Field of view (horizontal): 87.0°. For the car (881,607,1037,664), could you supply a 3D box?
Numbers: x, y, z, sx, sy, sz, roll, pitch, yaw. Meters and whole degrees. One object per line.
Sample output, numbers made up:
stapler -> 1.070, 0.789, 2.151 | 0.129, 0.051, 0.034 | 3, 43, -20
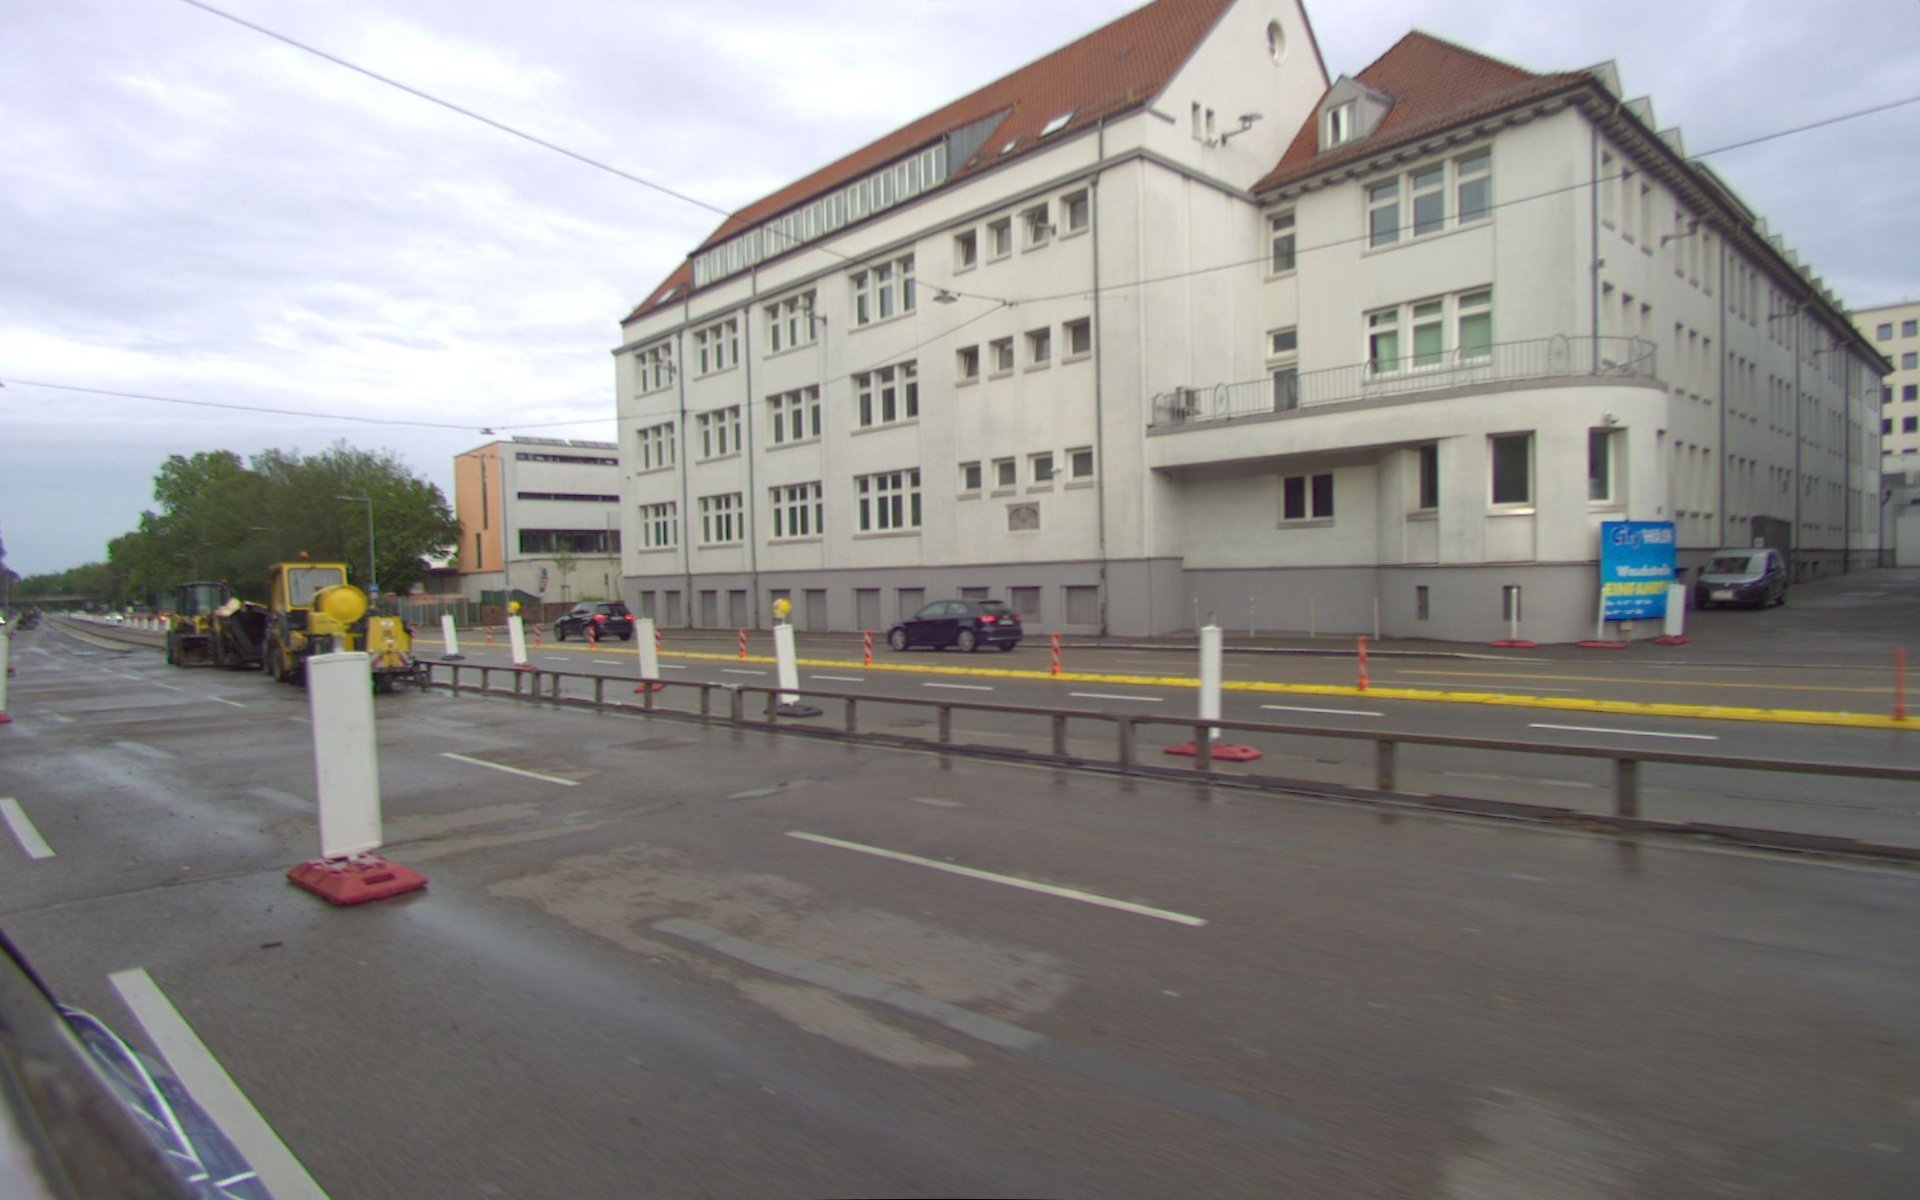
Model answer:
car -> -0.075, 0.933, 27.200 | 3.998, 1.392, 1.838 | -2, -1, 41

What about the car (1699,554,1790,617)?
car -> 24.551, -0.439, 31.631 | 1.790, 1.844, 3.906 | -1, 0, 45

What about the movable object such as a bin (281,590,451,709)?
movable object such as a bin -> -11.845, 0.918, 20.086 | 3.851, 2.128, 1.971 | -2, -1, 44

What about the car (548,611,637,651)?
car -> -15.538, 1.295, 42.708 | 1.970, 1.597, 4.213 | -1, -1, -44

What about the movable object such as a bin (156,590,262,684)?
movable object such as a bin -> -24.508, 1.149, 32.958 | 4.480, 2.859, 2.097 | -2, -1, 44

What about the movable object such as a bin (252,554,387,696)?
movable object such as a bin -> -14.505, 0.566, 22.863 | 3.608, 2.934, 1.801 | -2, -2, 44

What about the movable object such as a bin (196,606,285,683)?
movable object such as a bin -> -20.825, 1.245, 29.234 | 4.087, 2.060, 1.380 | -2, -1, 45
